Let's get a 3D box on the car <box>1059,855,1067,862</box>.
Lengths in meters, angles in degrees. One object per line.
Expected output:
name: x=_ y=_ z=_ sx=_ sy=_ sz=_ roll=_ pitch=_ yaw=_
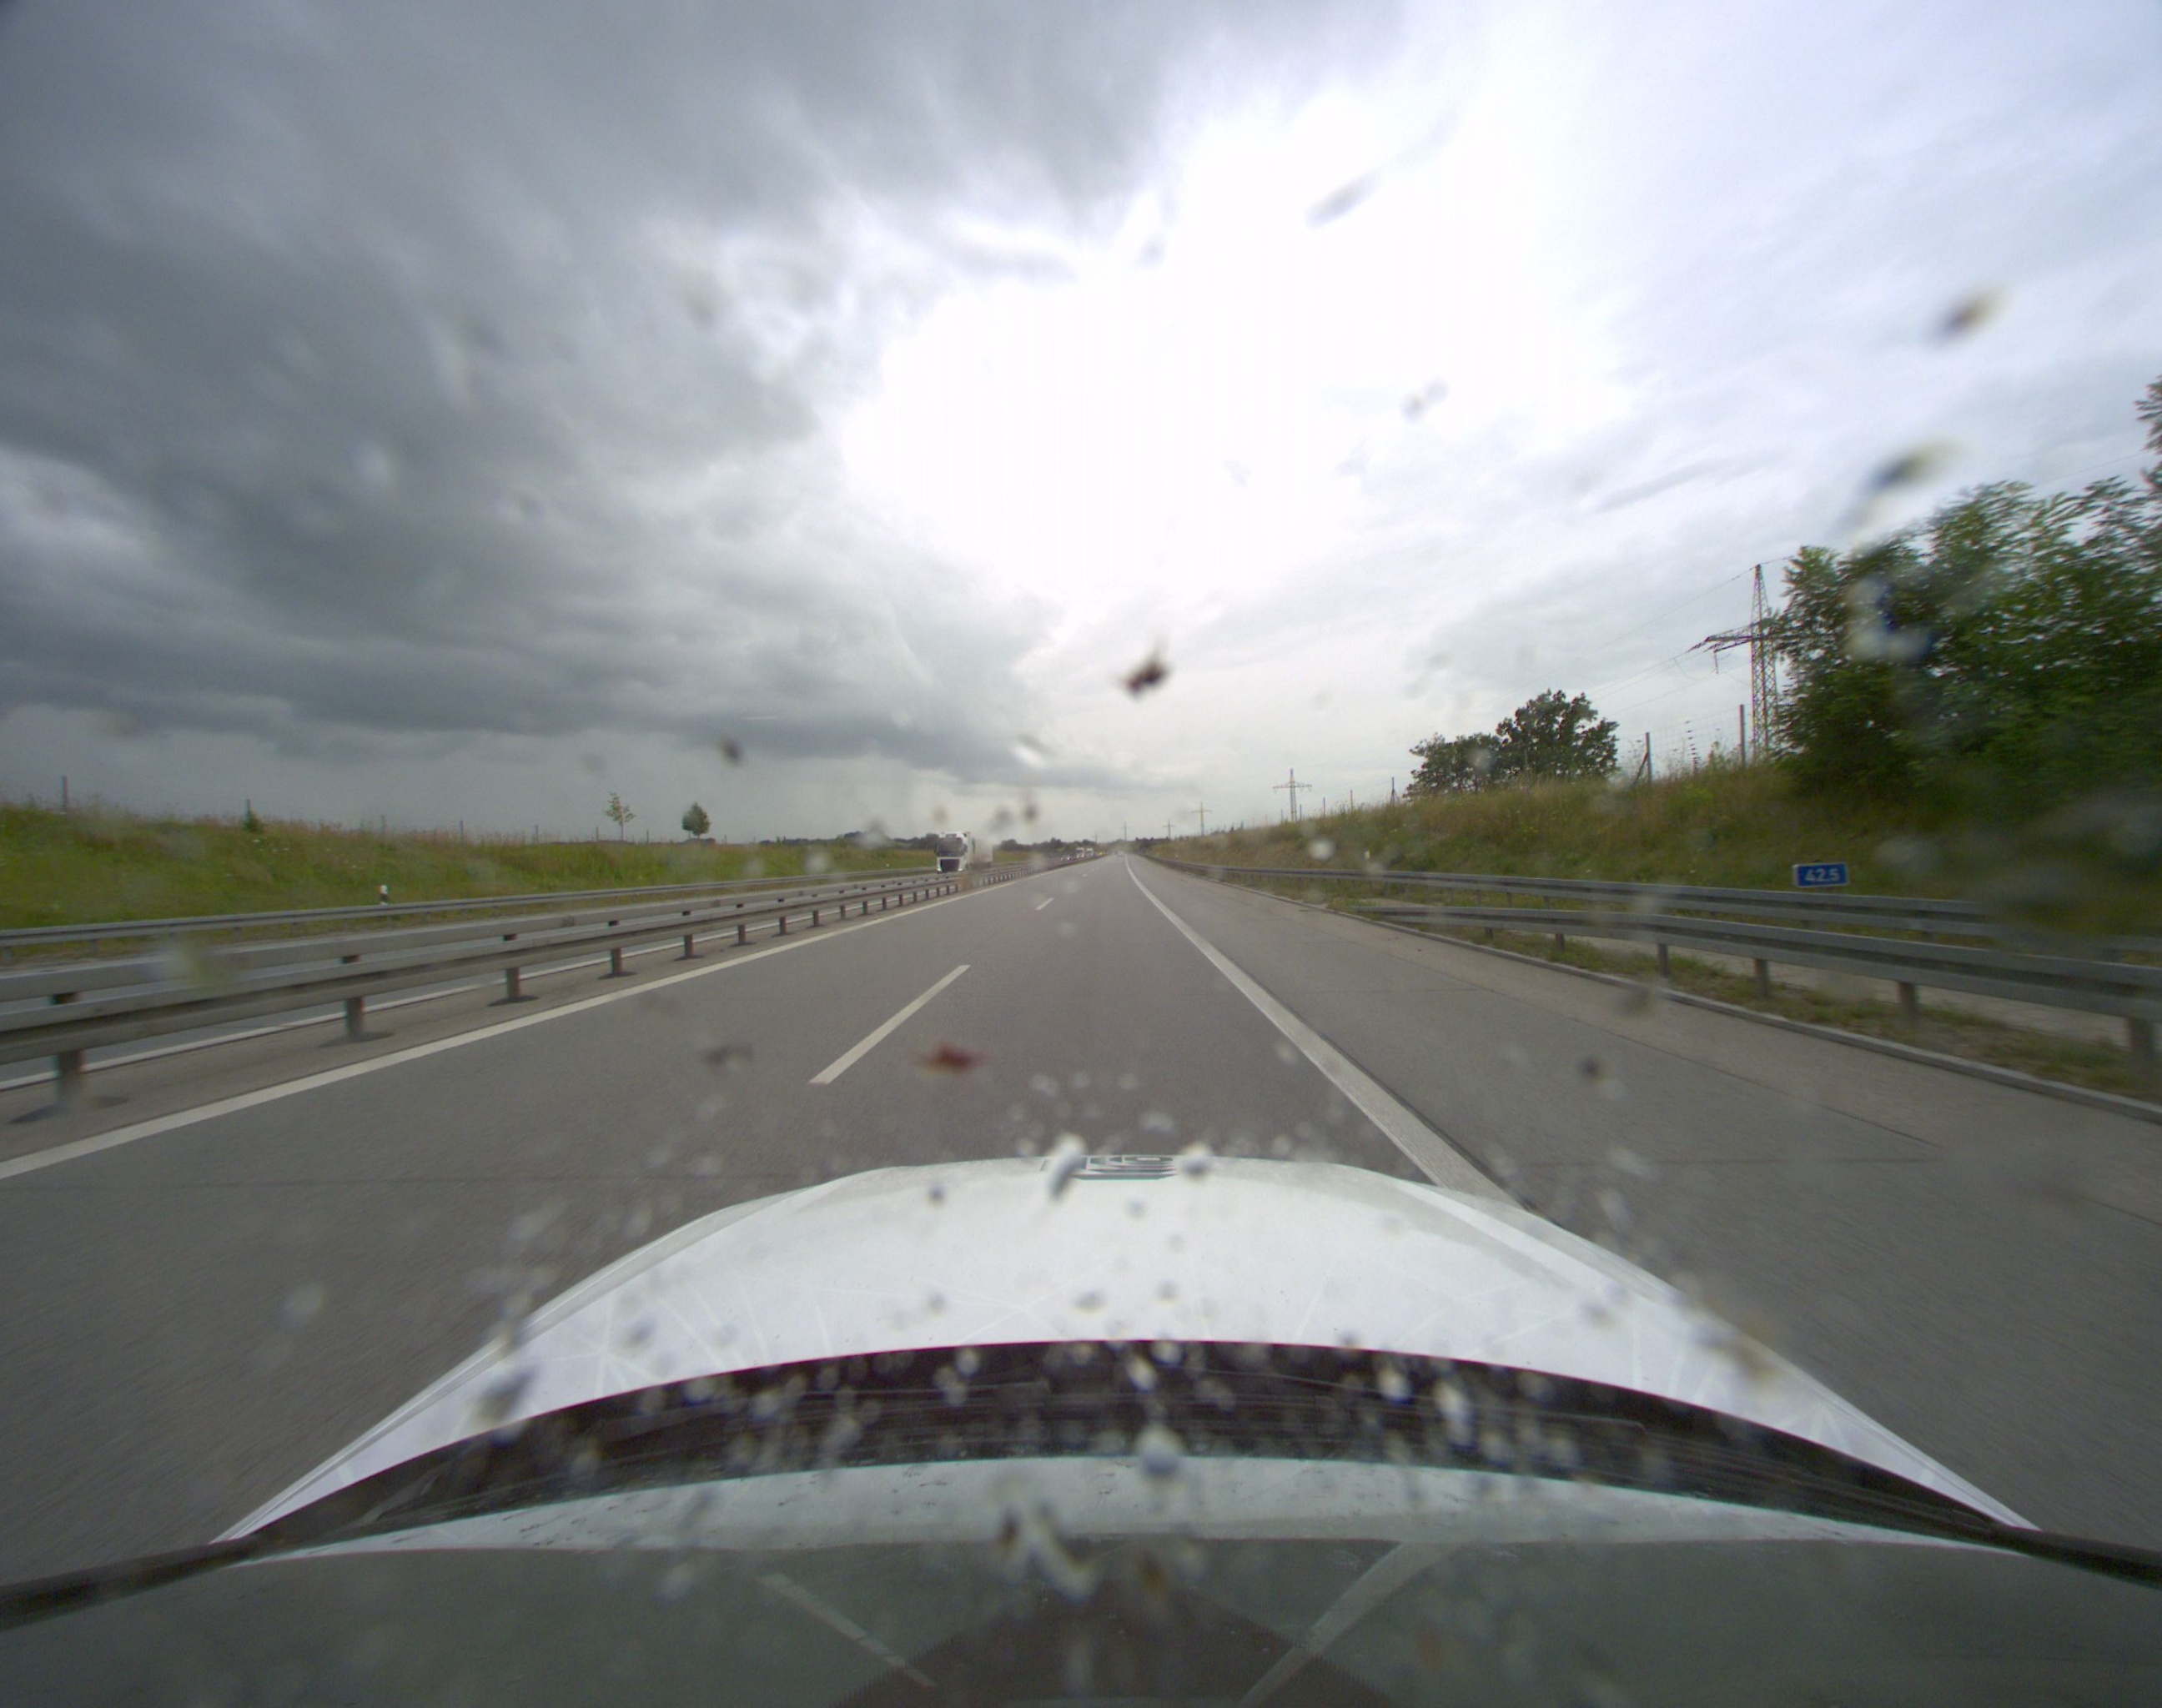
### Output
car: x=-3.879 y=0.870 z=175.696 sx=1.757 sy=1.424 sz=4.000 roll=-2 pitch=0 yaw=0

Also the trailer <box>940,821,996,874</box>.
trailer: x=-11.016 y=-0.596 z=81.259 sx=2.784 sy=4.650 sz=14.855 roll=-2 pitch=0 yaw=2

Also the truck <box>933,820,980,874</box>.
truck: x=-11.292 y=-0.600 z=74.420 sx=2.784 sy=4.647 sz=6.924 roll=-2 pitch=0 yaw=2
